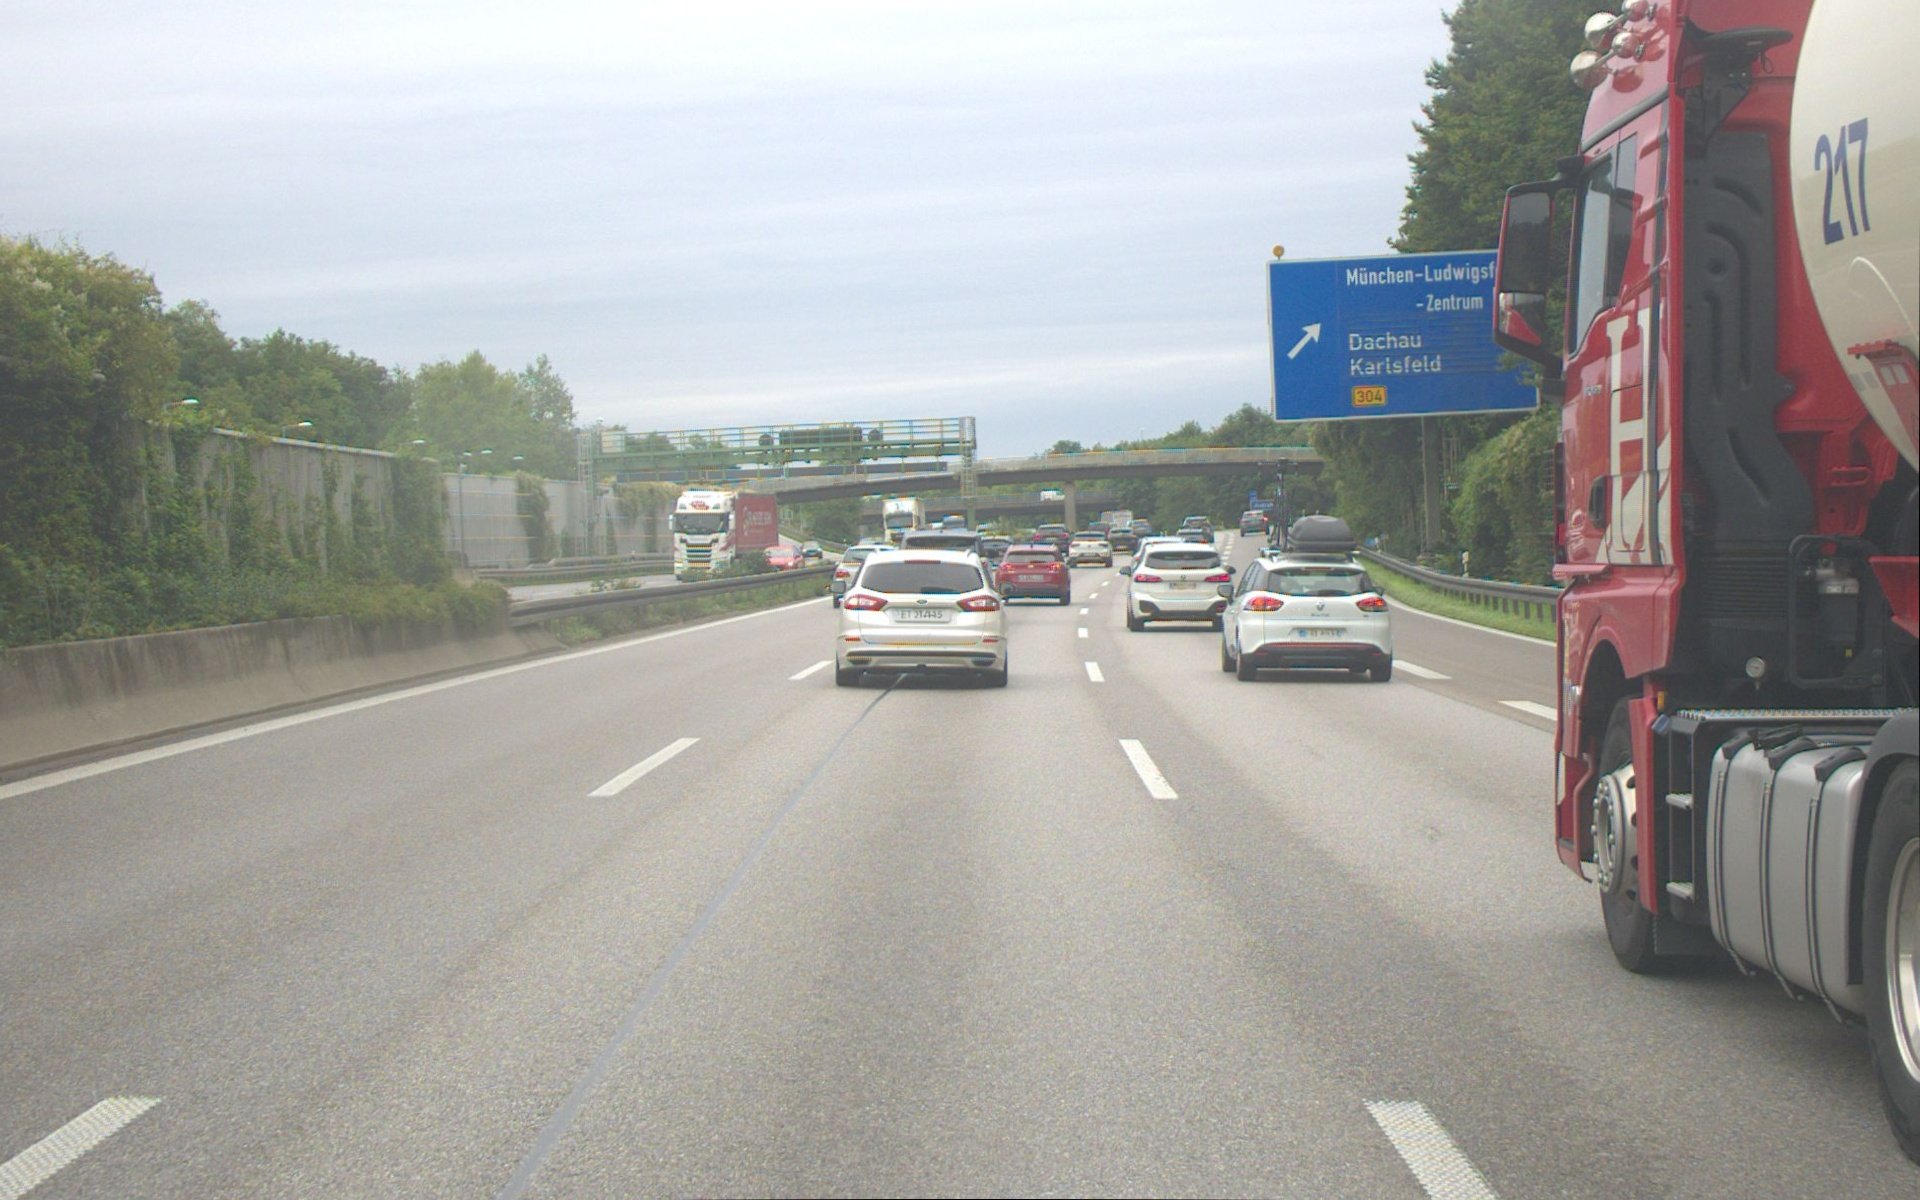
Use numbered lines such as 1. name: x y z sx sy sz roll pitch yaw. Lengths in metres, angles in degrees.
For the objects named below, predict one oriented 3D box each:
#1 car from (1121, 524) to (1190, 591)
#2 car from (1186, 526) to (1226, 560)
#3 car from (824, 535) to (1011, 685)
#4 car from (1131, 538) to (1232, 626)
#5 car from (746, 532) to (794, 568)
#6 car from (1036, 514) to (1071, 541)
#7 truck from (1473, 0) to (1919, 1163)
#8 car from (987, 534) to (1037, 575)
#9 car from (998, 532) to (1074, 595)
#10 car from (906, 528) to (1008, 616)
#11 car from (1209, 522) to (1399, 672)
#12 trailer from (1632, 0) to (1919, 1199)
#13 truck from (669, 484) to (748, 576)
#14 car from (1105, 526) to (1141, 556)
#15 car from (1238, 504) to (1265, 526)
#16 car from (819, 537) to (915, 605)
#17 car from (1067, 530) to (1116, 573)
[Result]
1. car: 5.474 -1.169 95.908 1.689 1.773 3.870 -2 0 6
2. car: 11.274 -2.625 157.344 1.689 1.534 3.871 0 1 6
3. car: -0.401 0.069 37.914 1.892 1.499 5.030 1 1 1
4. car: 3.962 -0.324 60.950 1.689 1.501 3.871 0 0 5
5. car: -8.425 -2.220 152.764 1.772 1.564 4.717 0 0 1
6. car: 4.961 -3.844 182.699 1.689 1.417 3.871 0 1 4
7. truck: 3.555 -0.657 11.435 2.695 3.899 6.556 0 1 0
8. car: 2.156 -1.872 142.327 1.689 1.634 3.870 -1 1 6
9. car: 1.880 -0.908 84.000 1.689 1.501 3.871 0 1 4
10. car: -0.025 -0.561 65.979 1.689 1.501 3.871 4 2 2
11. car: 3.924 -0.056 39.903 1.816 1.620 5.030 0 1 1
12. trailer: 3.531 -0.532 4.249 2.668 3.925 13.131 0 1 -1
13. truck: -11.532 -3.217 158.163 2.668 4.113 5.915 -1 1 5
14. car: 8.580 -3.108 180.971 1.689 1.534 3.871 0 1 6
15. car: 18.759 -5.455 221.325 1.689 1.417 3.871 0 1 4
16. car: -2.171 -0.664 81.314 1.720 1.464 5.029 -1 -1 5
17. car: 5.633 -2.087 147.026 1.790 1.773 3.870 -1 1 6
